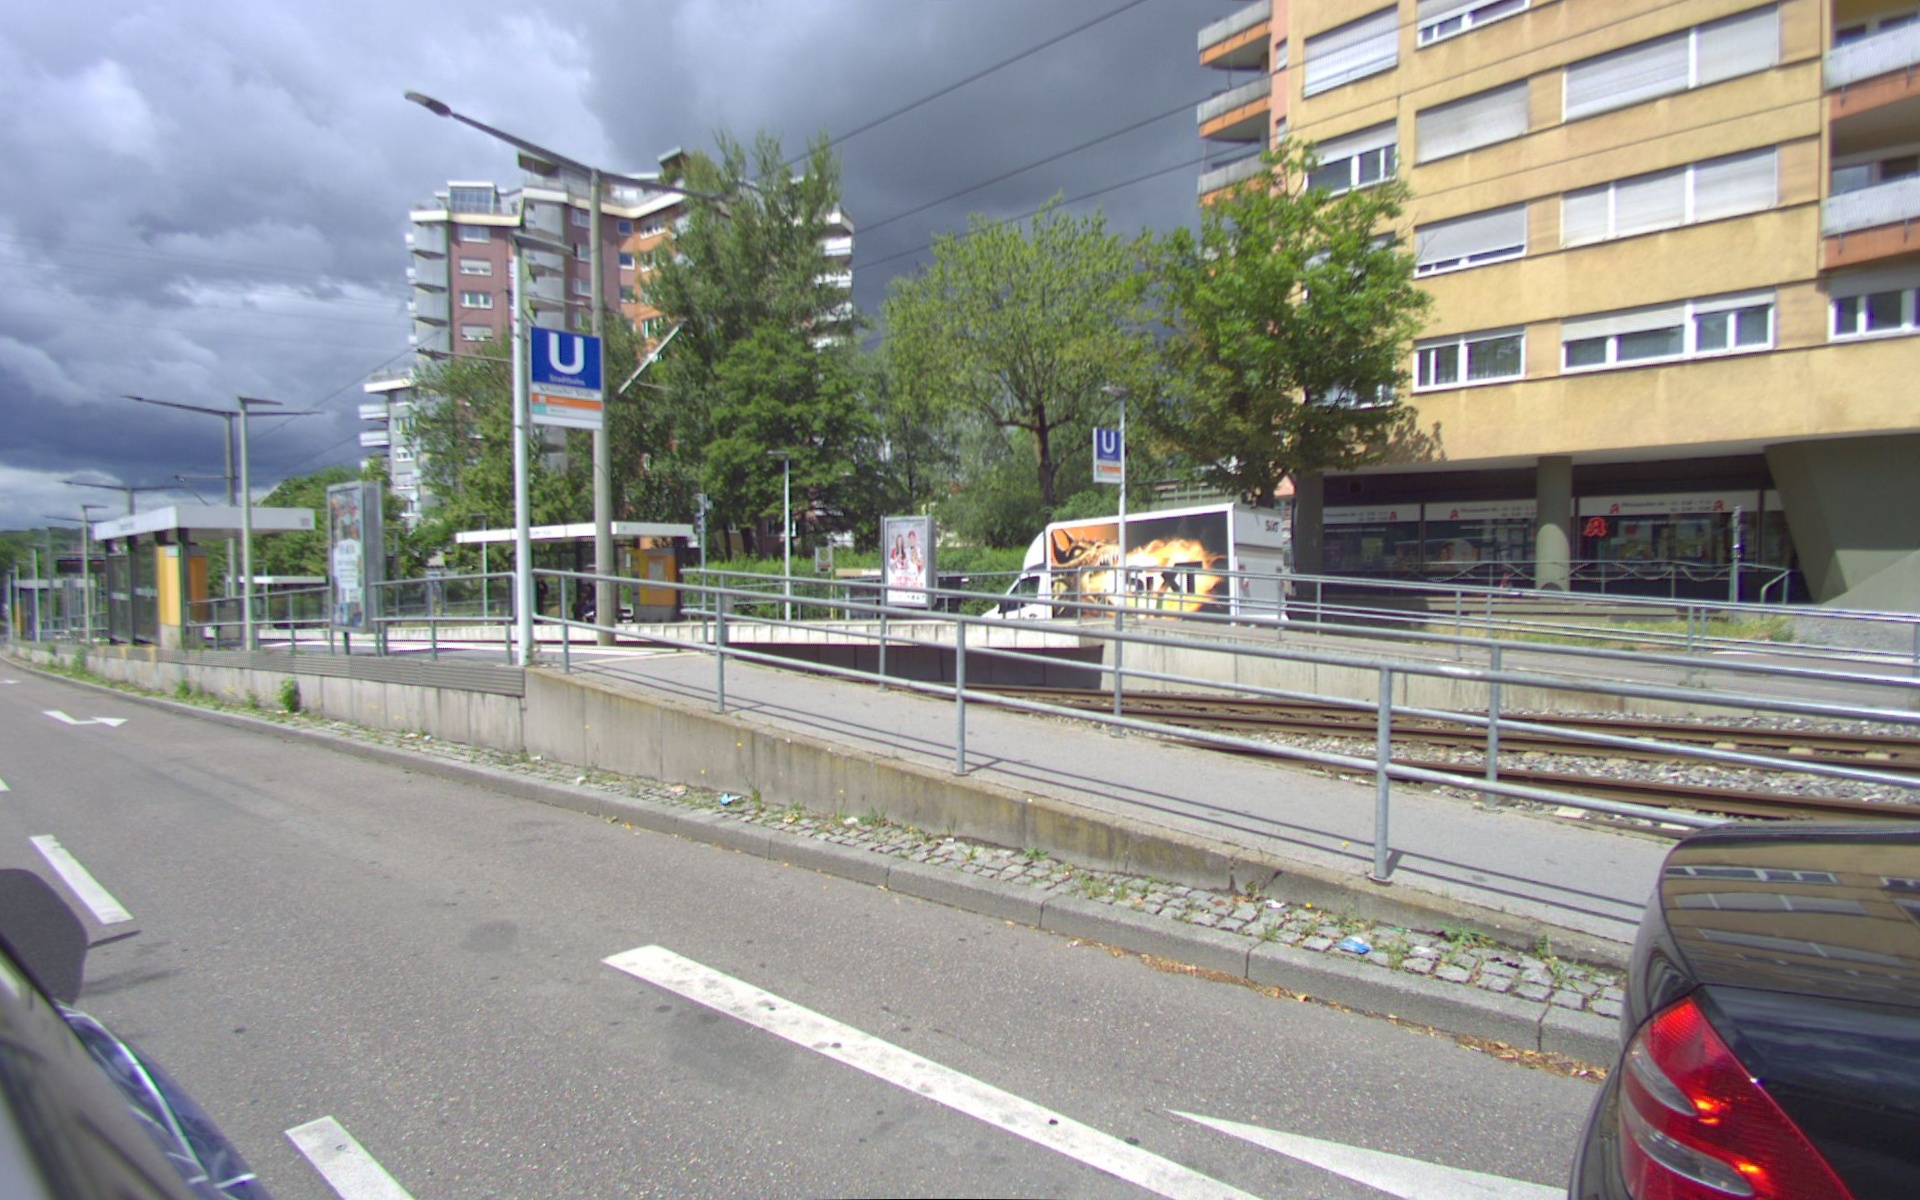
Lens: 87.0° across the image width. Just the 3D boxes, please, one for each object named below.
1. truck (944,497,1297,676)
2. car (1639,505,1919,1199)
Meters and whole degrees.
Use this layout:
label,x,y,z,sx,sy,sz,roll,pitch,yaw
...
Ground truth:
label,x,y,z,sx,sy,sz,roll,pitch,yaw
truck,3.168,-0.159,21.687,7.260,3.247,2.389,-2,-1,42
car,3.013,0.607,0.248,4.542,1.472,1.710,-1,0,42
